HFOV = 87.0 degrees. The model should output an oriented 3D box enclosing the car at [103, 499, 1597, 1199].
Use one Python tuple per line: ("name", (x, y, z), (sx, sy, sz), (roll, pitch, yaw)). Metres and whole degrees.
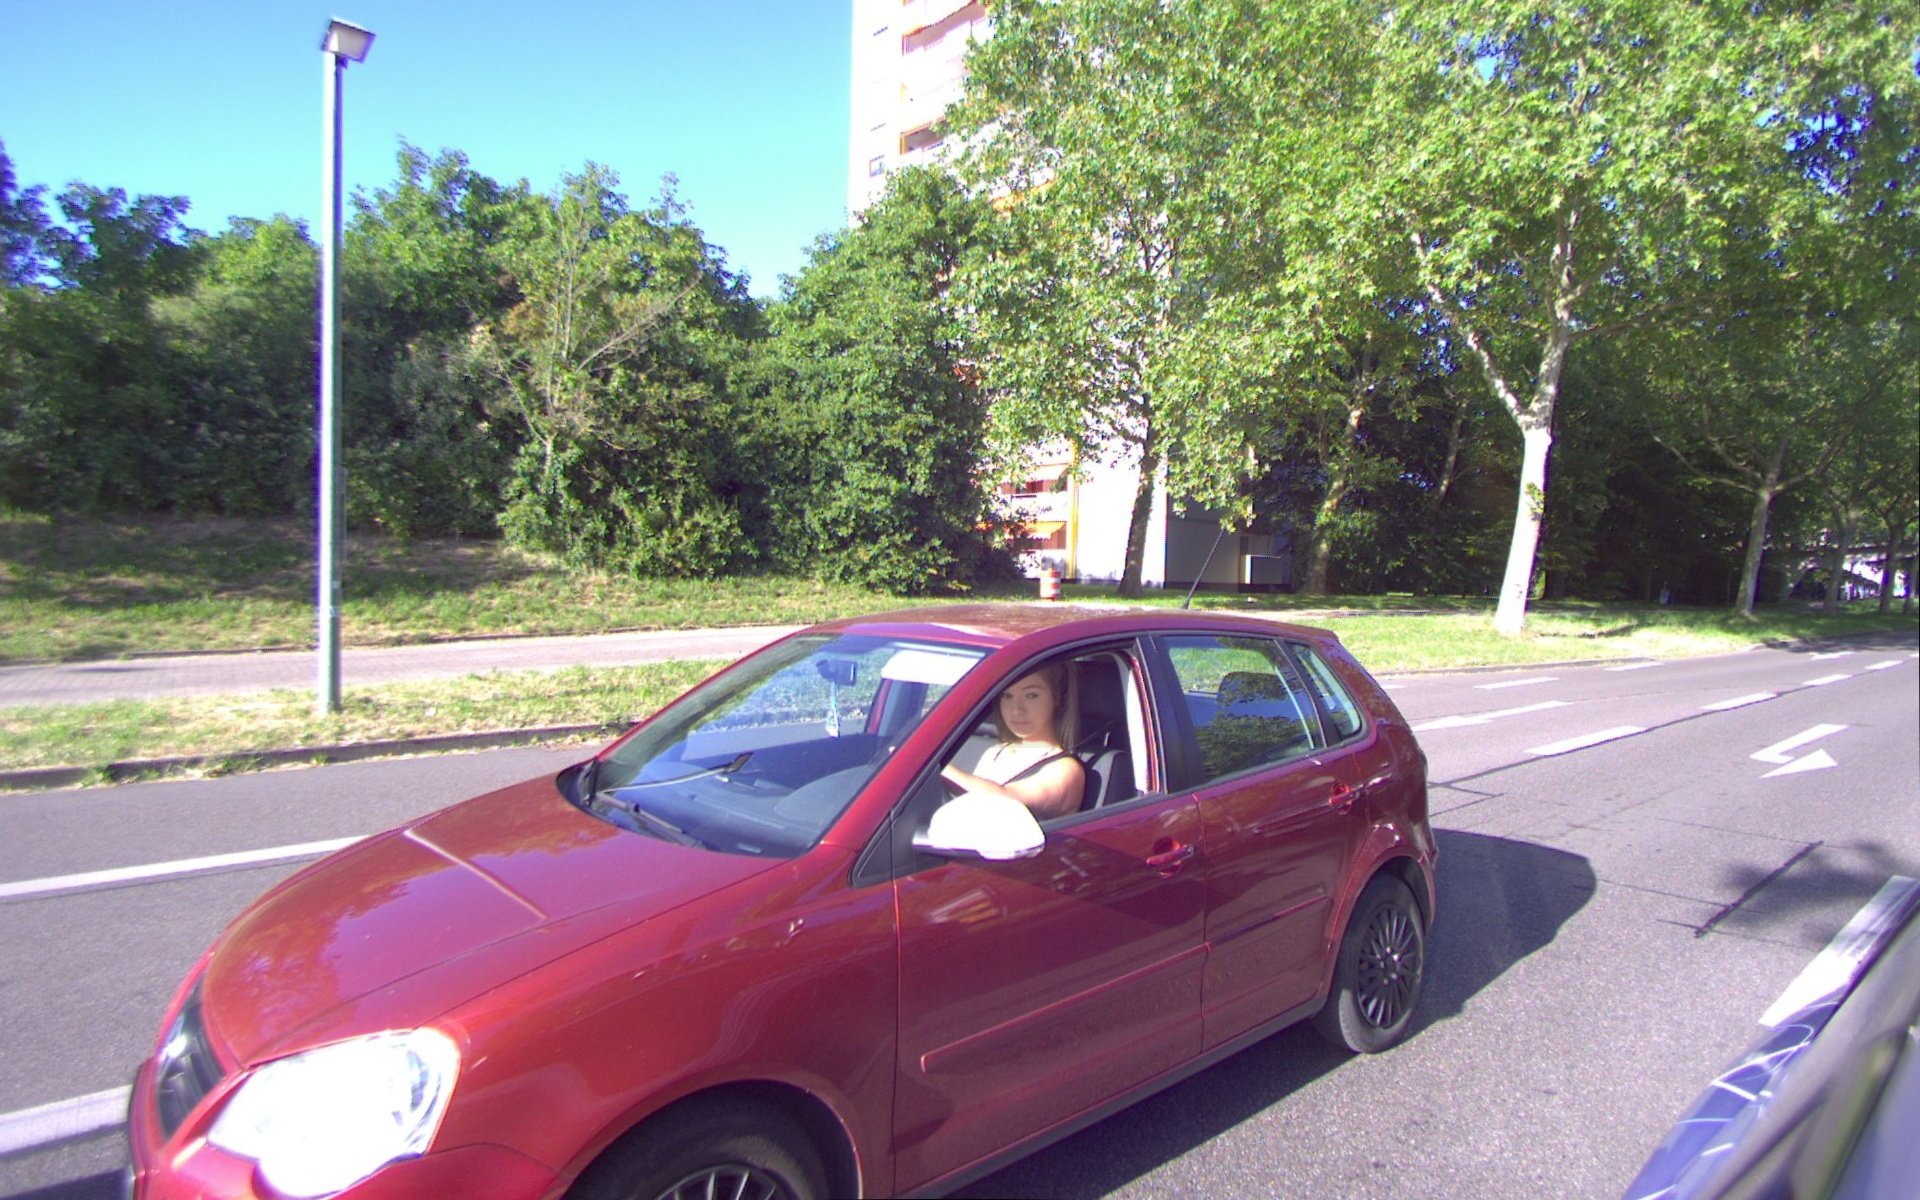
("car", (0.227, 0.643, 3.385), (4.640, 1.578, 1.772), (0, 1, -38))
